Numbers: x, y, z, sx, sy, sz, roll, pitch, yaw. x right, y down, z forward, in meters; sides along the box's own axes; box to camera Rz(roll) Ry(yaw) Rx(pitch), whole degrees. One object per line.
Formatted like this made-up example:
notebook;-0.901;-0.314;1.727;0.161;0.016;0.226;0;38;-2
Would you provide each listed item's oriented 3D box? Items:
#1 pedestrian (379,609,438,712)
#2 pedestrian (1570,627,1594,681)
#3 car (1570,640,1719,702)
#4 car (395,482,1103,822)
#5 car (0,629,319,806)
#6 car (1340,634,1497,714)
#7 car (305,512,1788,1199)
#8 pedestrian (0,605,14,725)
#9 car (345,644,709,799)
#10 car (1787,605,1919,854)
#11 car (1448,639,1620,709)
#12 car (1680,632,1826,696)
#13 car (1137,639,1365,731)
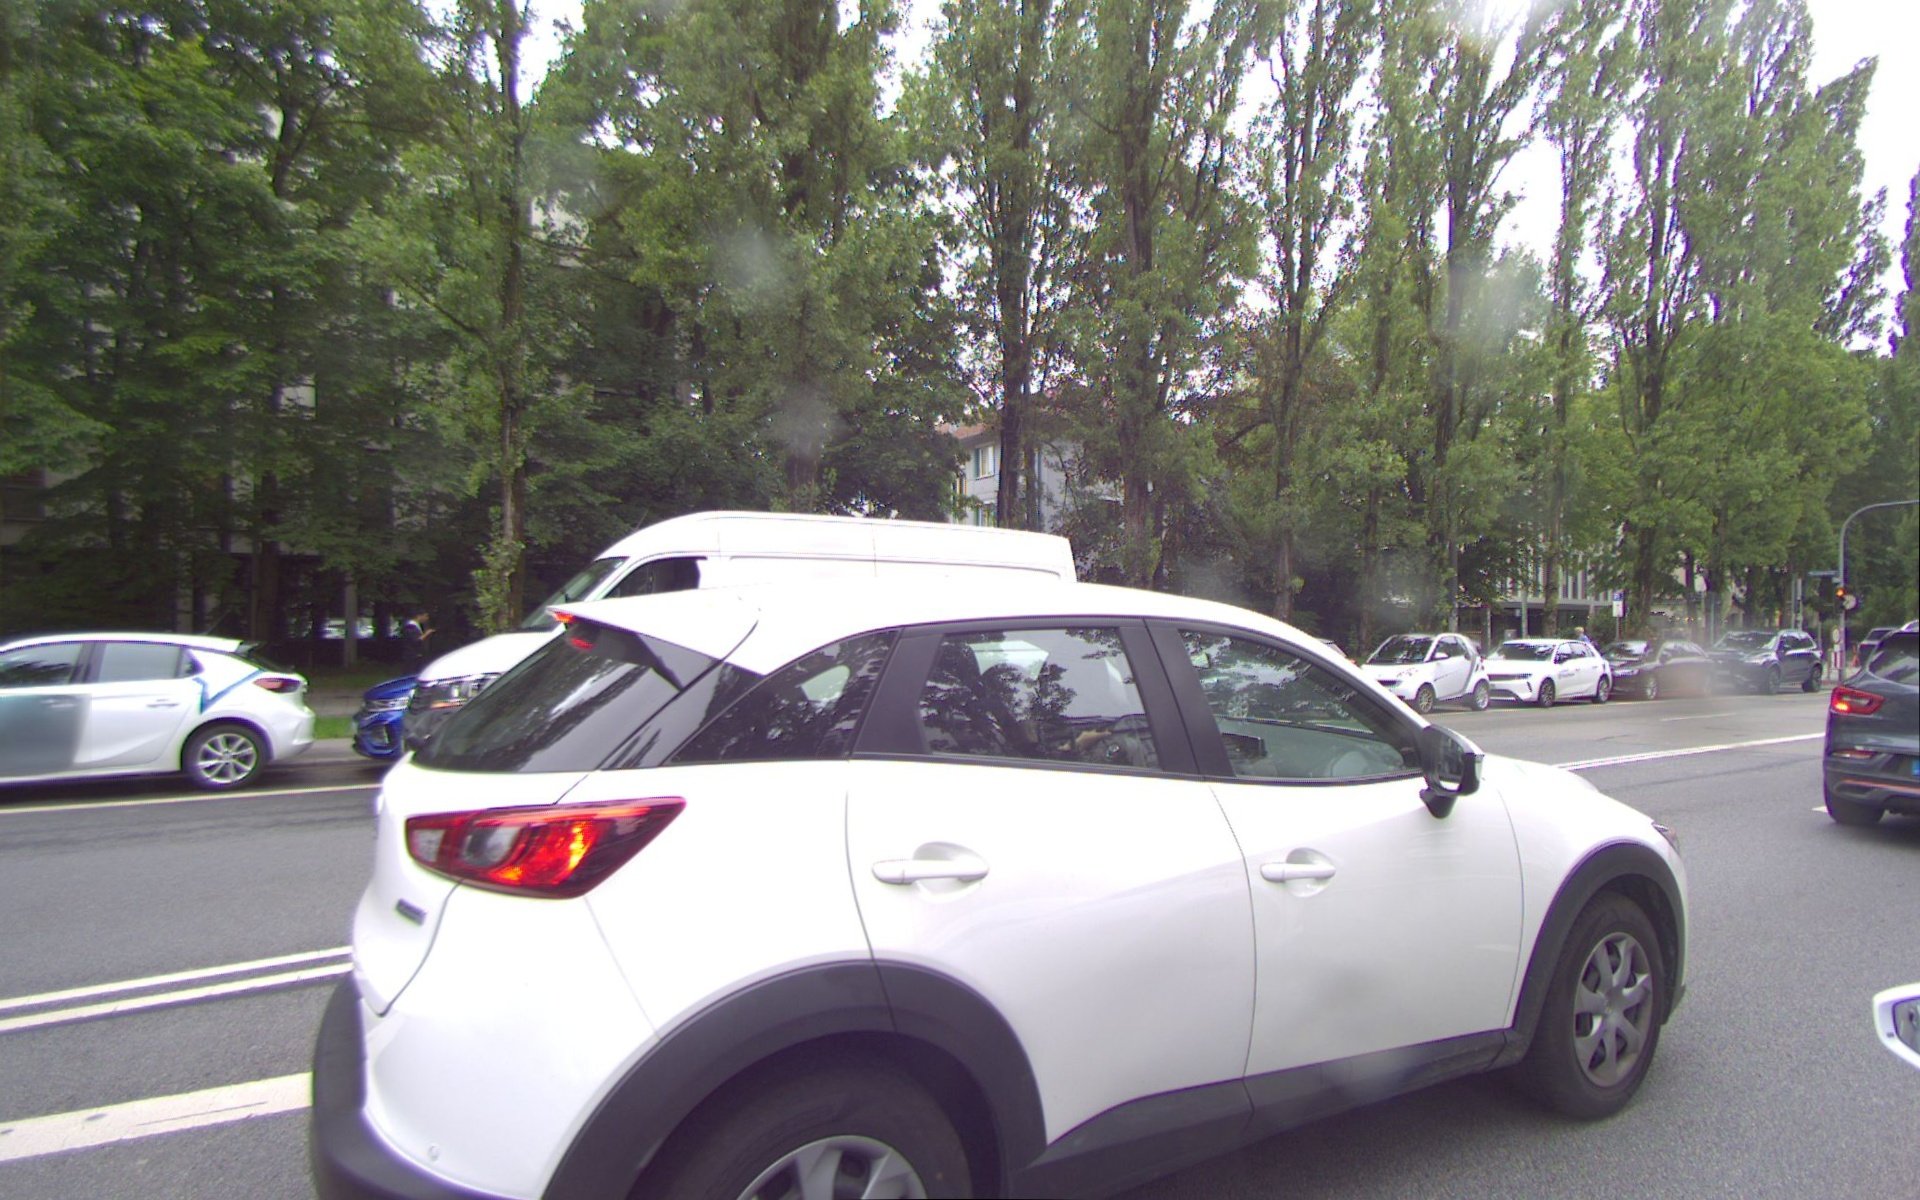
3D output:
pedestrian;-9.941;1.068;18.119;0.879;1.795;0.733;1;0;-30
pedestrian;18.218;1.570;29.416;0.390;1.548;0.463;1;-1;-30
car;17.099;1.727;25.043;4.123;1.407;1.614;1;-4;-34
car;-1.840;0.496;10.184;6.683;2.515;2.216;1;-3;-32
car;-8.380;1.033;9.191;4.187;1.471;1.761;1;-4;-33
car;9.112;1.450;19.932;2.932;1.466;1.420;1;-4;-32
car;0.457;0.707;3.071;3.960;1.545;1.897;1;-1;-29
pedestrian;-14.599;0.956;14.684;0.946;1.764;0.663;1;-1;-30
car;-4.819;1.252;11.299;3.547;1.470;1.700;1;-4;-33
car;8.130;0.890;7.403;4.136;1.607;1.826;1;0;-30
car;12.741;1.592;22.215;4.123;1.407;1.614;1;-4;-34
car;22.273;1.756;28.172;4.646;1.675;1.838;1;-4;-34
car;5.069;1.420;17.421;3.805;1.444;1.594;1;-4;-30
